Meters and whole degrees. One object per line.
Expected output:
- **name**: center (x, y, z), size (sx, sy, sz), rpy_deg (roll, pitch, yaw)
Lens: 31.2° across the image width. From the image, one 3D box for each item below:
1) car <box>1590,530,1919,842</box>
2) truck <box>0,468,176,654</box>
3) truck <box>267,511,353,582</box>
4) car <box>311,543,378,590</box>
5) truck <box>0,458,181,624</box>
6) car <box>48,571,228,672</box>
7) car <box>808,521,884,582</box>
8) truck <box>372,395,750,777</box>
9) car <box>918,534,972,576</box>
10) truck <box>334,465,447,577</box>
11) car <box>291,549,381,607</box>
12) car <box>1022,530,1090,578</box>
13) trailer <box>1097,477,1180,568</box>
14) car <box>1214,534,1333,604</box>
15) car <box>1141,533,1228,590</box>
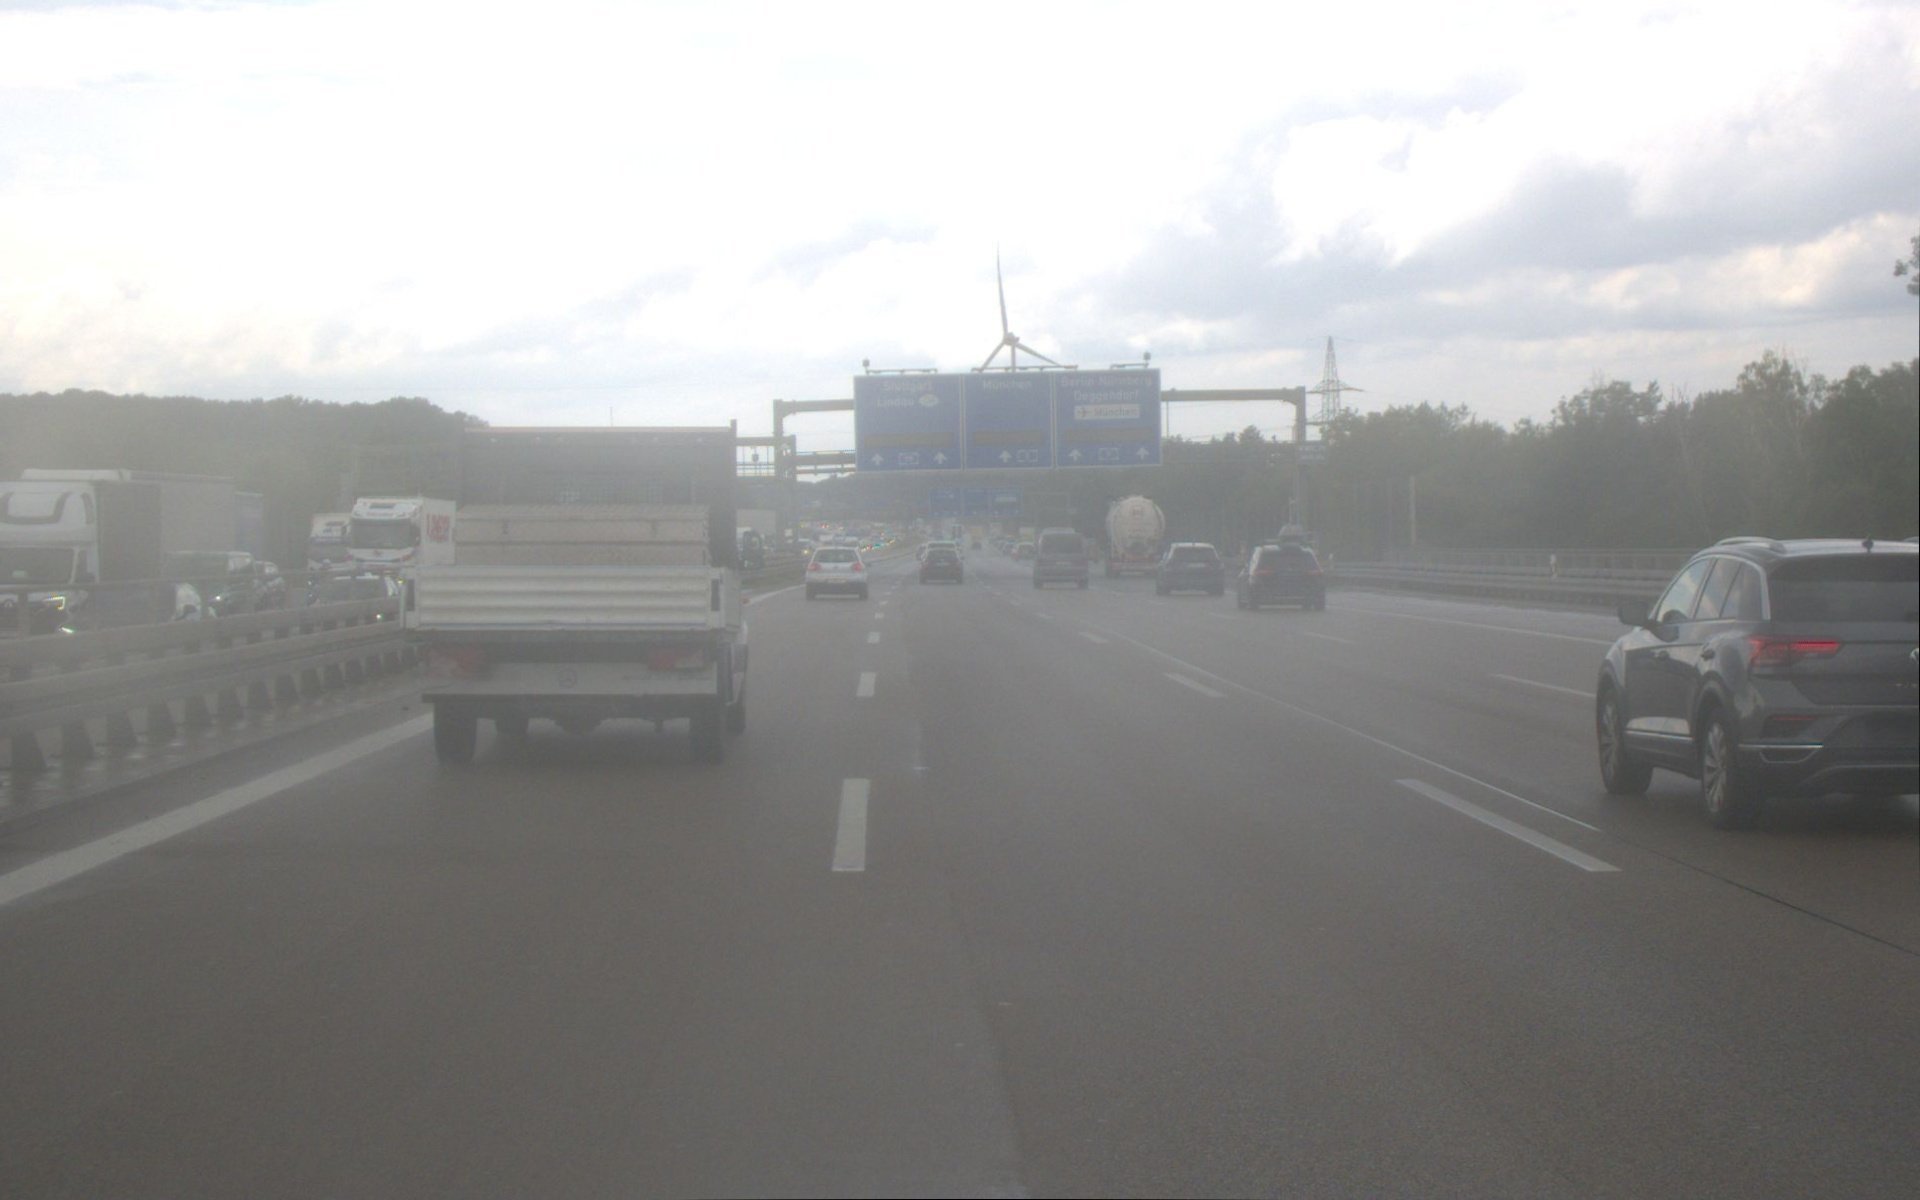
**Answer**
- **car**: center (4.761, 0.402, 19.017), size (1.792, 1.557, 3.722), rpy_deg (0, 1, -1)
- **truck**: center (-17.552, -0.790, 67.175), size (2.519, 3.387, 8.541), rpy_deg (-1, 1, -1)
- **truck**: center (-28.083, -2.336, 148.790), size (2.517, 2.976, 7.022), rpy_deg (-1, 1, -1)
- **car**: center (-21.534, -1.182, 120.387), size (1.645, 1.540, 4.000), rpy_deg (-1, 1, 0)
- **truck**: center (-21.801, -1.470, 85.515), size (3.199, 3.920, 7.574), rpy_deg (0, 1, -1)
- **car**: center (-13.668, 0.317, 57.473), size (1.719, 1.497, 5.503), rpy_deg (-1, 1, -1)
- **car**: center (-3.228, -1.389, 97.984), size (2.045, 1.693, 4.000), rpy_deg (0, 1, 0)
- **truck**: center (-2.750, -0.171, 25.440), size (2.352, 2.400, 7.359), rpy_deg (0, 1, -3)
- **car**: center (-0.637, -1.878, 142.089), size (2.045, 1.693, 4.001), rpy_deg (0, 1, -3)
- **truck**: center (-22.073, -3.079, 133.580), size (3.177, 4.179, 7.738), rpy_deg (-1, 1, -1)
- **car**: center (-18.210, -0.668, 100.519), size (1.821, 1.618, 4.698), rpy_deg (-1, 1, -1)
- **car**: center (3.433, -1.679, 123.690), size (2.097, 1.693, 4.001), rpy_deg (0, 1, -3)
- **trailer**: center (8.469, -3.698, 164.659), size (3.333, 4.161, 11.839), rpy_deg (0, 1, 0)
- **car**: center (7.432, -0.765, 81.975), size (2.104, 1.600, 5.066), rpy_deg (0, 1, -3)
- **car**: center (6.892, -1.210, 106.010), size (2.045, 1.693, 5.008), rpy_deg (0, 1, -3)
